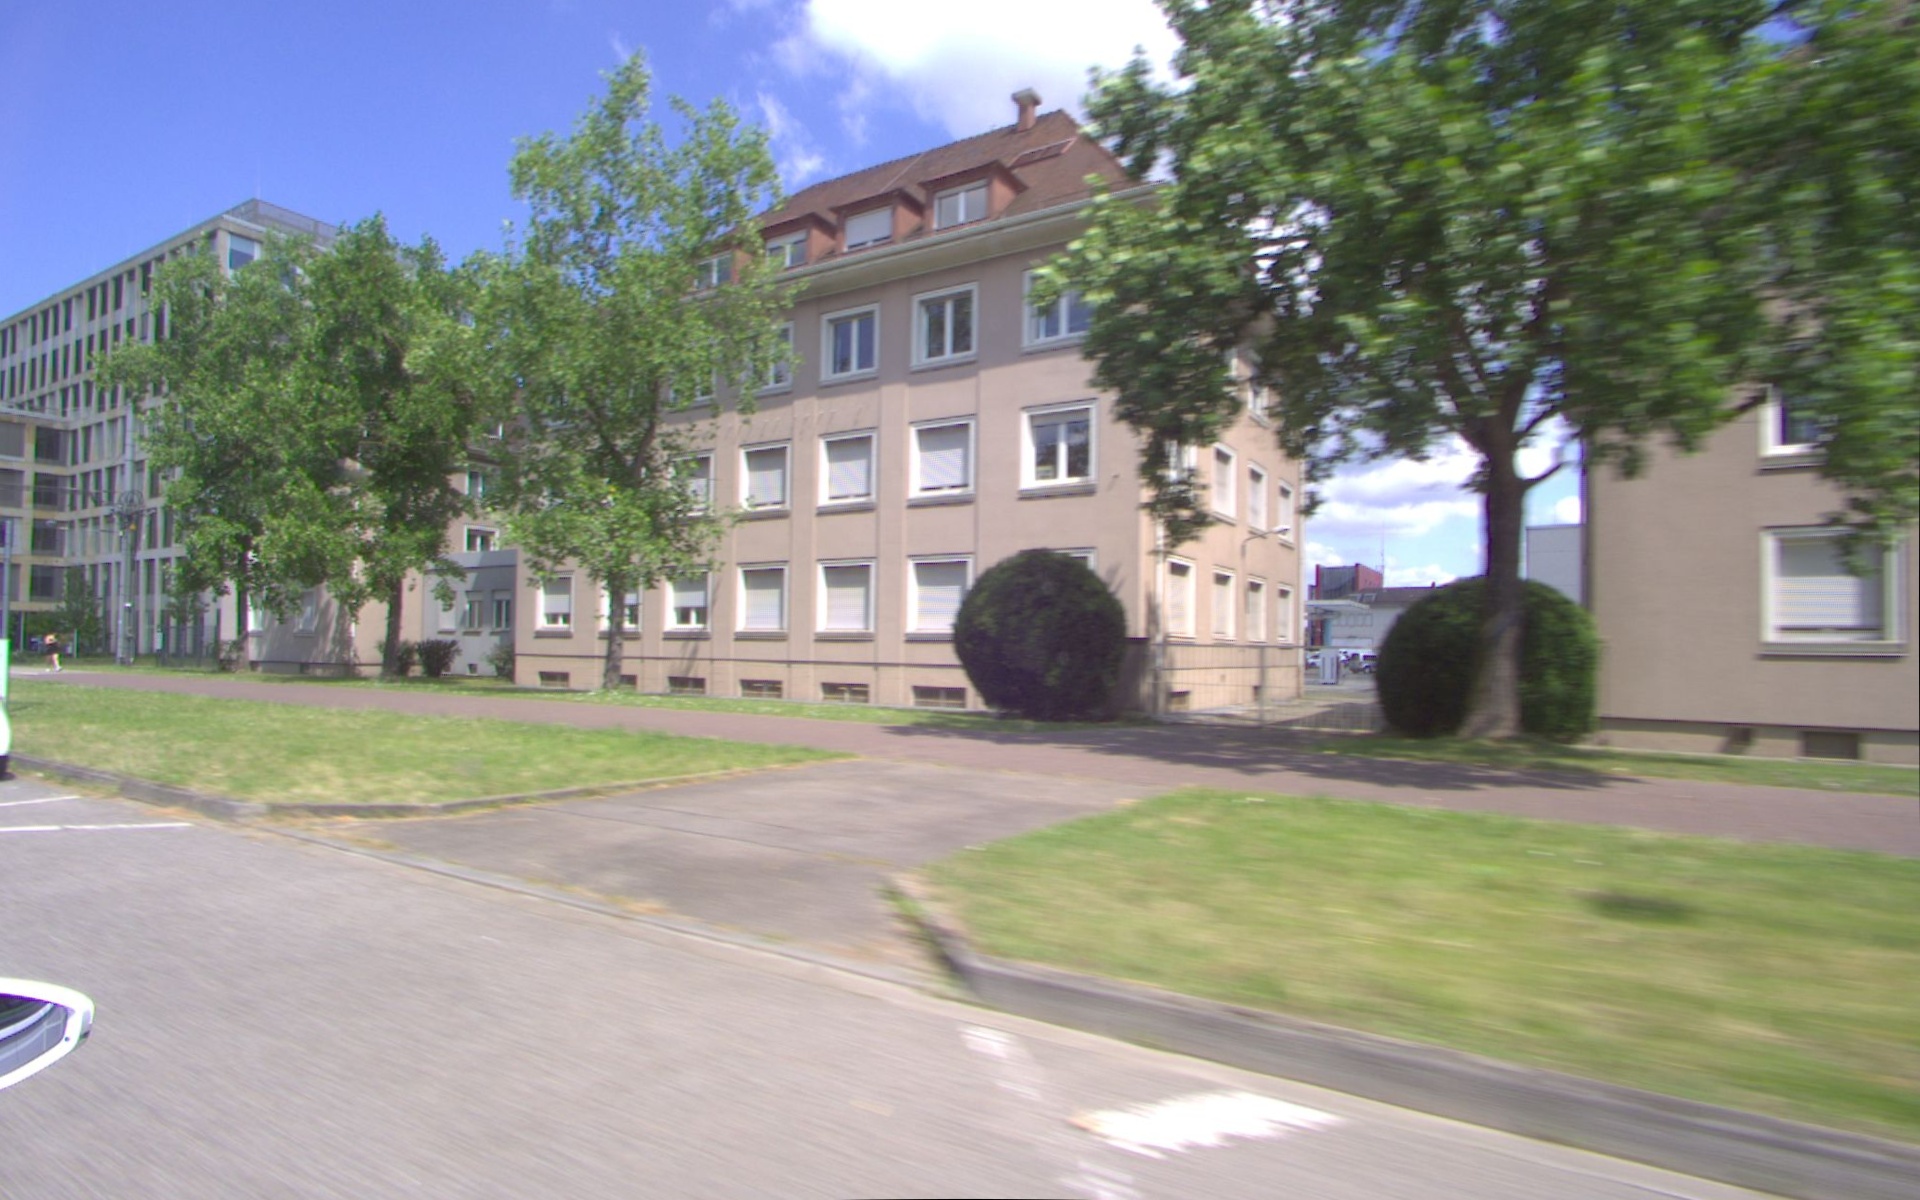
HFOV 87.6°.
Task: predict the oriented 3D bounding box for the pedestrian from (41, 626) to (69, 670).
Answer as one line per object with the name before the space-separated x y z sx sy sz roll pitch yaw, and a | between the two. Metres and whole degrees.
pedestrian | -33.853 1.799 37.459 0.615 1.628 0.621 -1 -1 30

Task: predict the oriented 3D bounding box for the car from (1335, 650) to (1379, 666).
car | 51.991 7.549 131.154 4.972 2.039 2.001 1 -2 -7

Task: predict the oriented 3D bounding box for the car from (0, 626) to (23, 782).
car | -11.181 1.014 10.122 3.737 1.498 1.704 -1 -2 34
